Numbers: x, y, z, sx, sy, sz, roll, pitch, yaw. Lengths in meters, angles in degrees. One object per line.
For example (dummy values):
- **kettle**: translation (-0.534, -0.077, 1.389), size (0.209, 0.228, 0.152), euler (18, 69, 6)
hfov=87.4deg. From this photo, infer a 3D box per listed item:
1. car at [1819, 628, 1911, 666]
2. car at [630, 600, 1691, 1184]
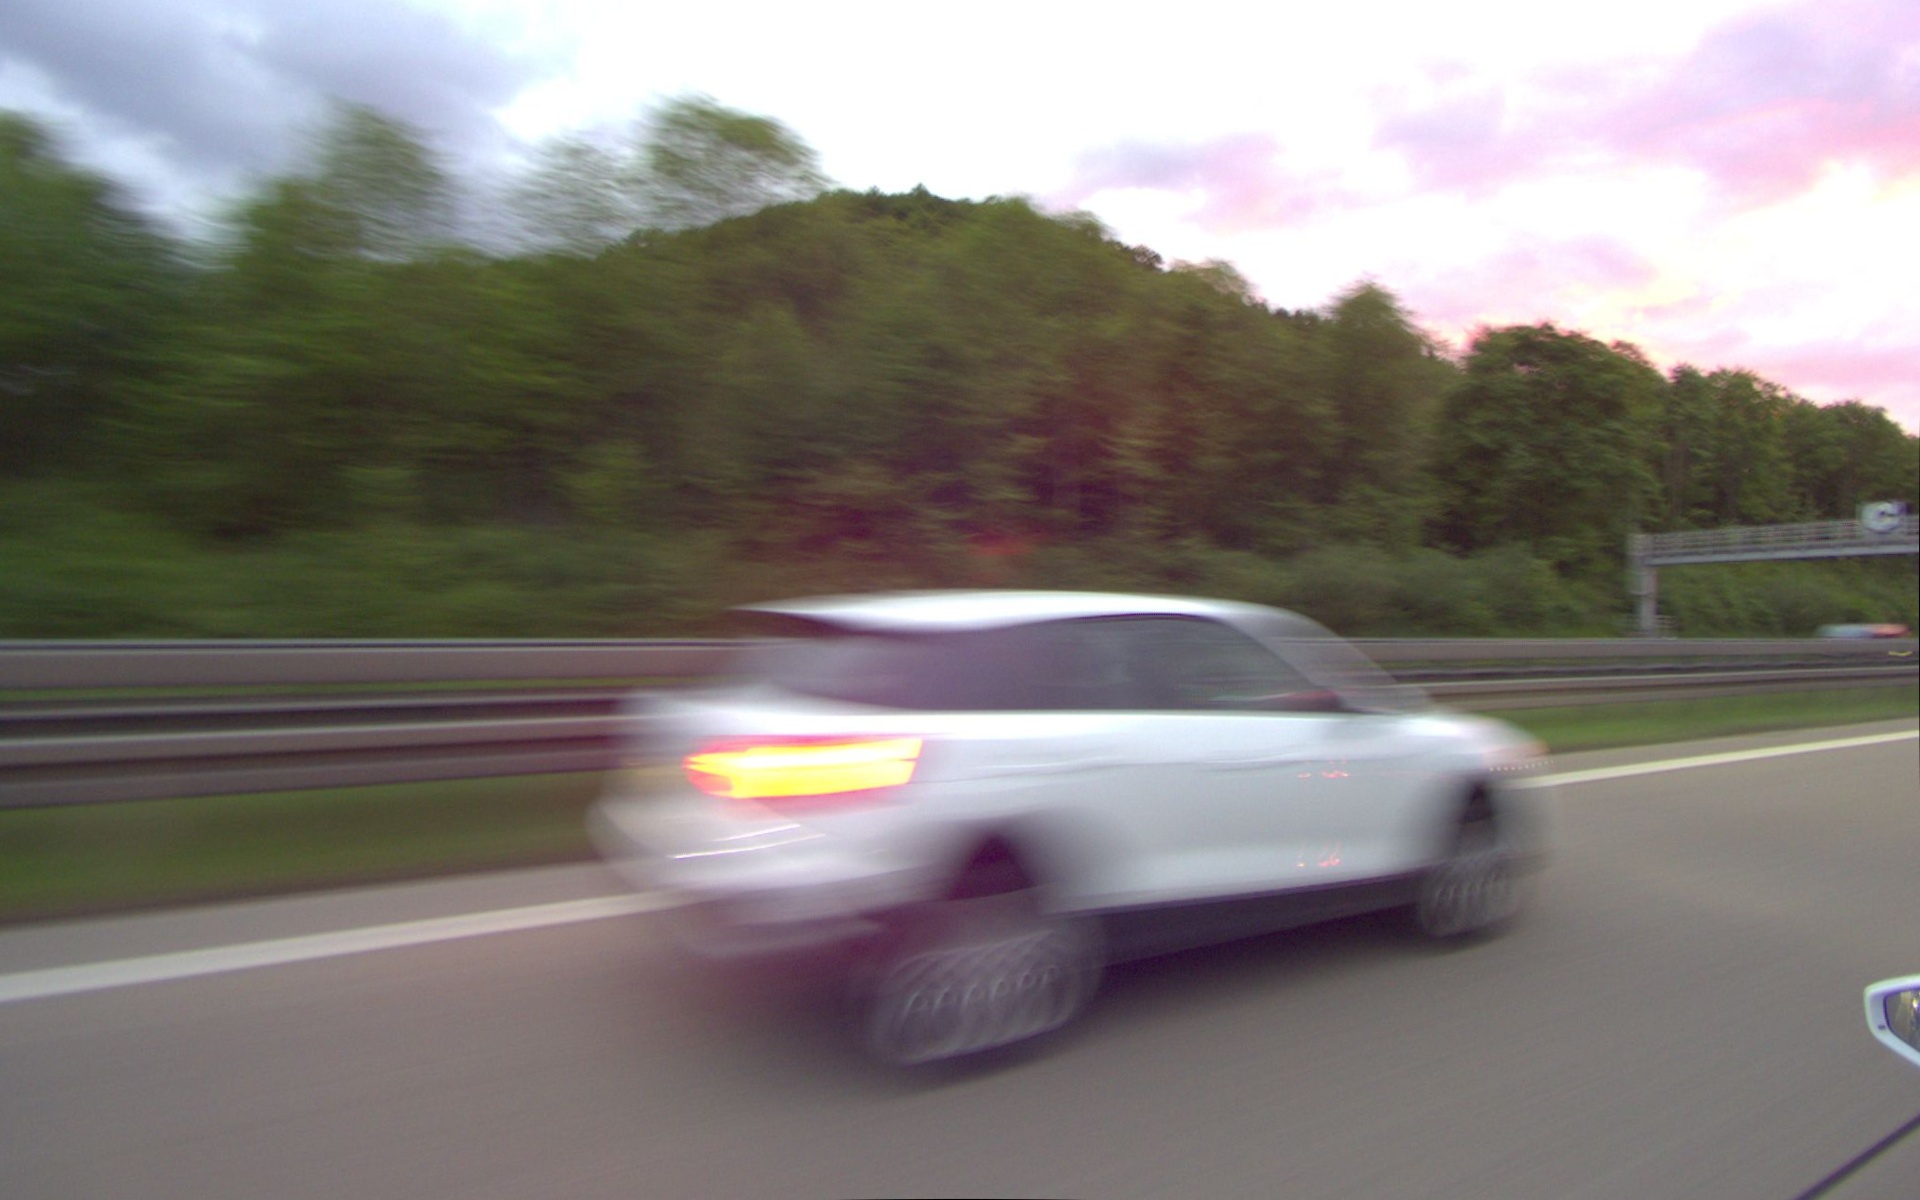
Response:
- **car**: translation (44.717, 2.307, 49.614), size (5.595, 1.757, 1.839), euler (2, -1, -31)
- **car**: translation (1.211, 0.808, 4.702), size (4.980, 1.521, 1.780), euler (1, 0, -31)
